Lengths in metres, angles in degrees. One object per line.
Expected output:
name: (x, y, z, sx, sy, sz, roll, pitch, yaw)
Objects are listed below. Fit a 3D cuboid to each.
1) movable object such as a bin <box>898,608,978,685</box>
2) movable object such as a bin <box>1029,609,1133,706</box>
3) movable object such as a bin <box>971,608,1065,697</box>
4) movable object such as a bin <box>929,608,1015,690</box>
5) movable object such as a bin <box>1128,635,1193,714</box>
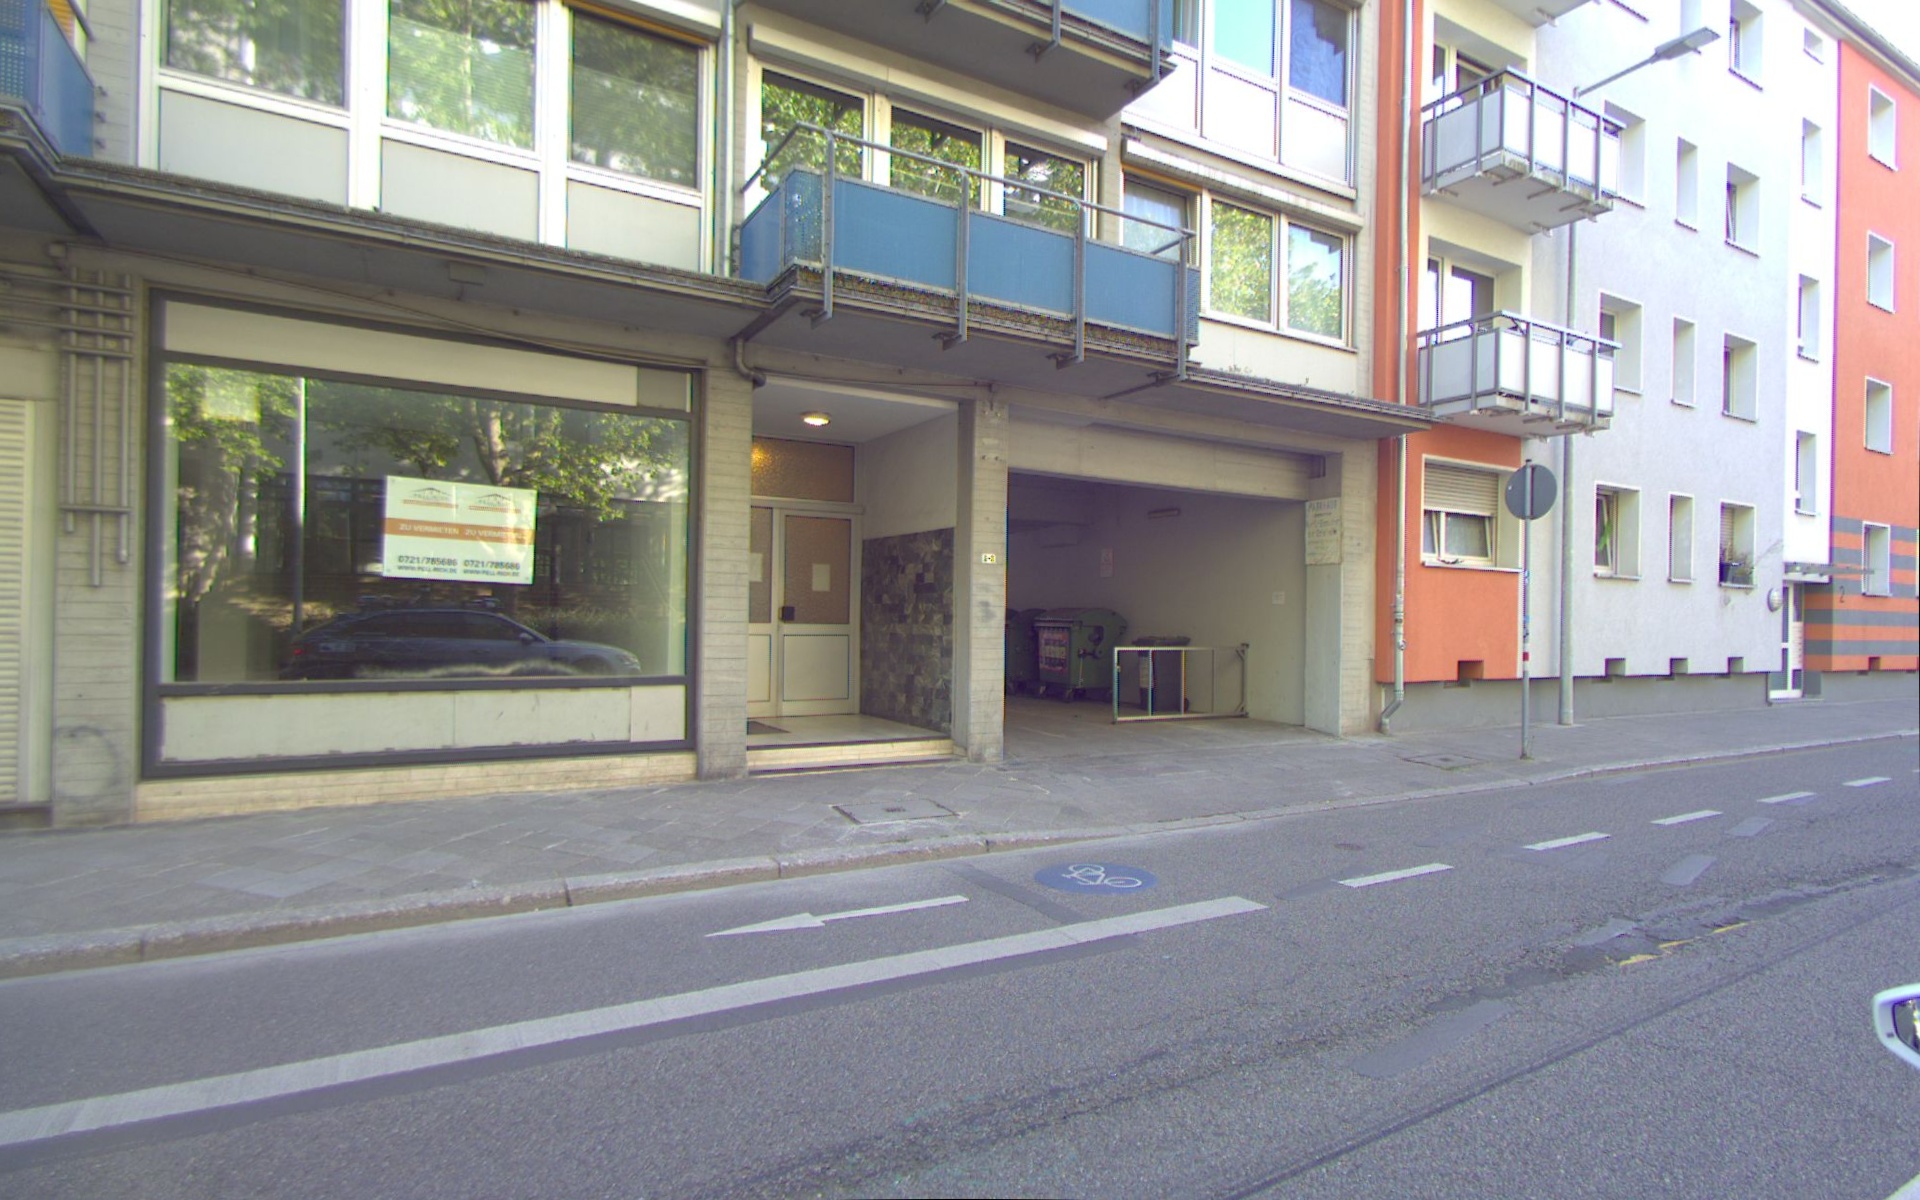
movable object such as a bin: (-0.436, 0.887, 19.613, 1.116, 1.444, 1.201, 1, 0, -30)
movable object such as a bin: (1.893, 0.878, 15.807, 1.116, 1.444, 1.201, 1, 0, -30)
movable object such as a bin: (0.981, 0.873, 17.166, 1.116, 1.444, 1.201, 1, 0, -30)
movable object such as a bin: (0.211, 0.880, 18.465, 1.116, 1.444, 1.201, 1, 0, -30)
movable object such as a bin: (2.891, 1.059, 14.497, 0.667, 1.079, 0.639, 1, 0, -30)
